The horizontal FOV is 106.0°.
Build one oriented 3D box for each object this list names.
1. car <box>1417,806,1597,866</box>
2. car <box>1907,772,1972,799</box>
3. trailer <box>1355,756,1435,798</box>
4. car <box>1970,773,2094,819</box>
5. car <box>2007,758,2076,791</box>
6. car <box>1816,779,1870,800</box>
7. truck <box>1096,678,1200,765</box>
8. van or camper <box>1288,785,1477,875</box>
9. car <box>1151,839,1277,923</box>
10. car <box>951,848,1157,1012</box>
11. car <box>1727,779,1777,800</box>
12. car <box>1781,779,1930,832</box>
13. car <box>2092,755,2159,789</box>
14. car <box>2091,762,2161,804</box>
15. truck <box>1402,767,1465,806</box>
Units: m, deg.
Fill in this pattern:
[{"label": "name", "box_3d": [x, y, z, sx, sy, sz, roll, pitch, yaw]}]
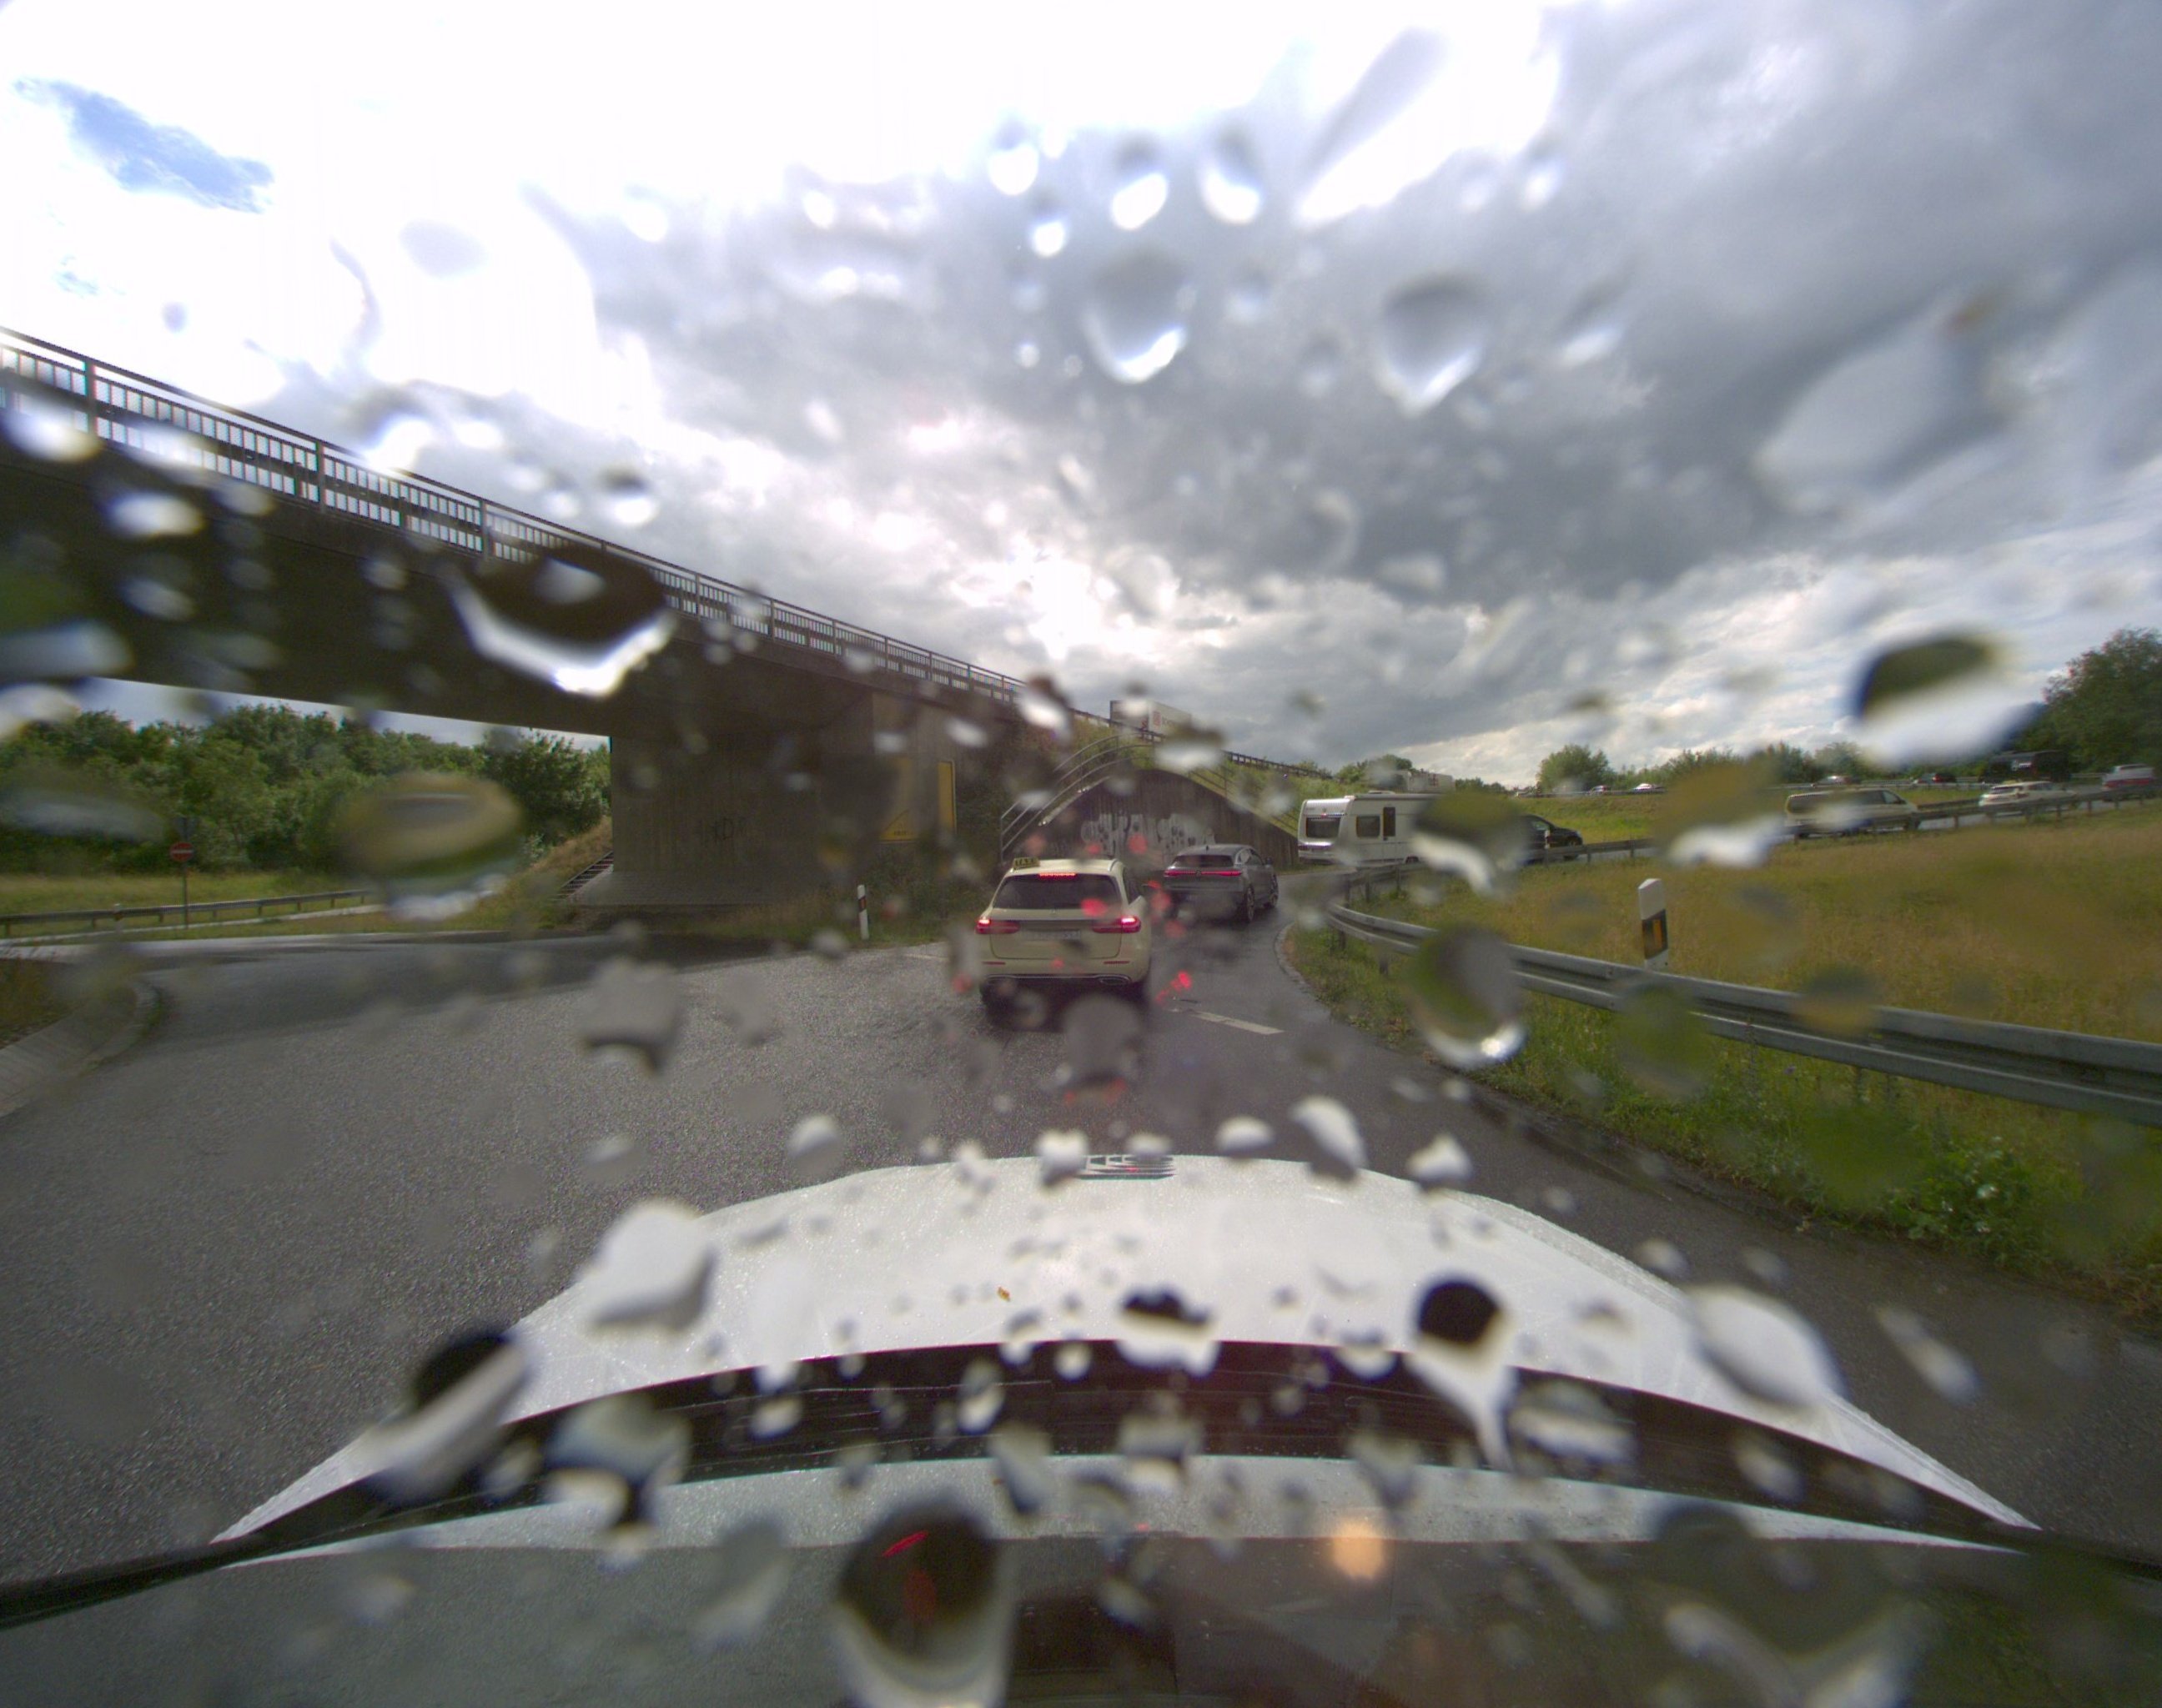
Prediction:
[{"label": "car", "box_3d": [15.331, -0.687, 29.337, 5.757, 1.925, 2.422, -2, 2, -18]}, {"label": "car", "box_3d": [74.894, -5.924, 71.124, 1.980, 2.013, 4.014, -2, 1, 12]}, {"label": "trailer", "box_3d": [41.624, -9.877, 107.079, 4.370, 3.955, 20.348, 0, 0, 37]}, {"label": "car", "box_3d": [43.721, -2.652, 37.430, 5.057, 1.861, 1.987, -3, 1, -19]}, {"label": "car", "box_3d": [70.741, -5.828, 60.065, 1.975, 2.013, 4.025, 0, 0, 29]}, {"label": "car", "box_3d": [76.481, -6.445, 81.818, 1.984, 2.013, 4.007, -3, 3, 5]}, {"label": "truck", "box_3d": [4.450, -8.089, 51.396, 3.150, 3.966, 9.293, -1, 0, 28]}, {"label": "van or camper", "box_3d": [10.102, -0.861, 27.180, 6.012, 2.729, 2.418, -2, 2, -26]}, {"label": "car", "box_3d": [2.952, 0.475, 17.320, 1.703, 1.524, 4.023, -1, 1, 23]}, {"label": "car", "box_3d": [-0.082, 0.716, 9.946, 1.907, 1.507, 4.601, -1, 0, 4]}, {"label": "car", "box_3d": [74.671, -7.164, 90.652, 1.994, 2.013, 3.986, -1, 0, -10]}, {"label": "car", "box_3d": [31.156, -1.930, 32.790, 5.050, 1.861, 1.990, -3, 1, -15]}, {"label": "car", "box_3d": [65.030, -5.042, 50.769, 1.644, 1.784, 5.089, -2, 1, 42]}, {"label": "car", "box_3d": [53.259, -3.570, 41.085, 5.071, 1.861, 1.982, -3, 1, -28]}, {"label": "truck", "box_3d": [53.395, -9.935, 122.785, 4.417, 4.503, 19.501, 0, 0, 37]}]
